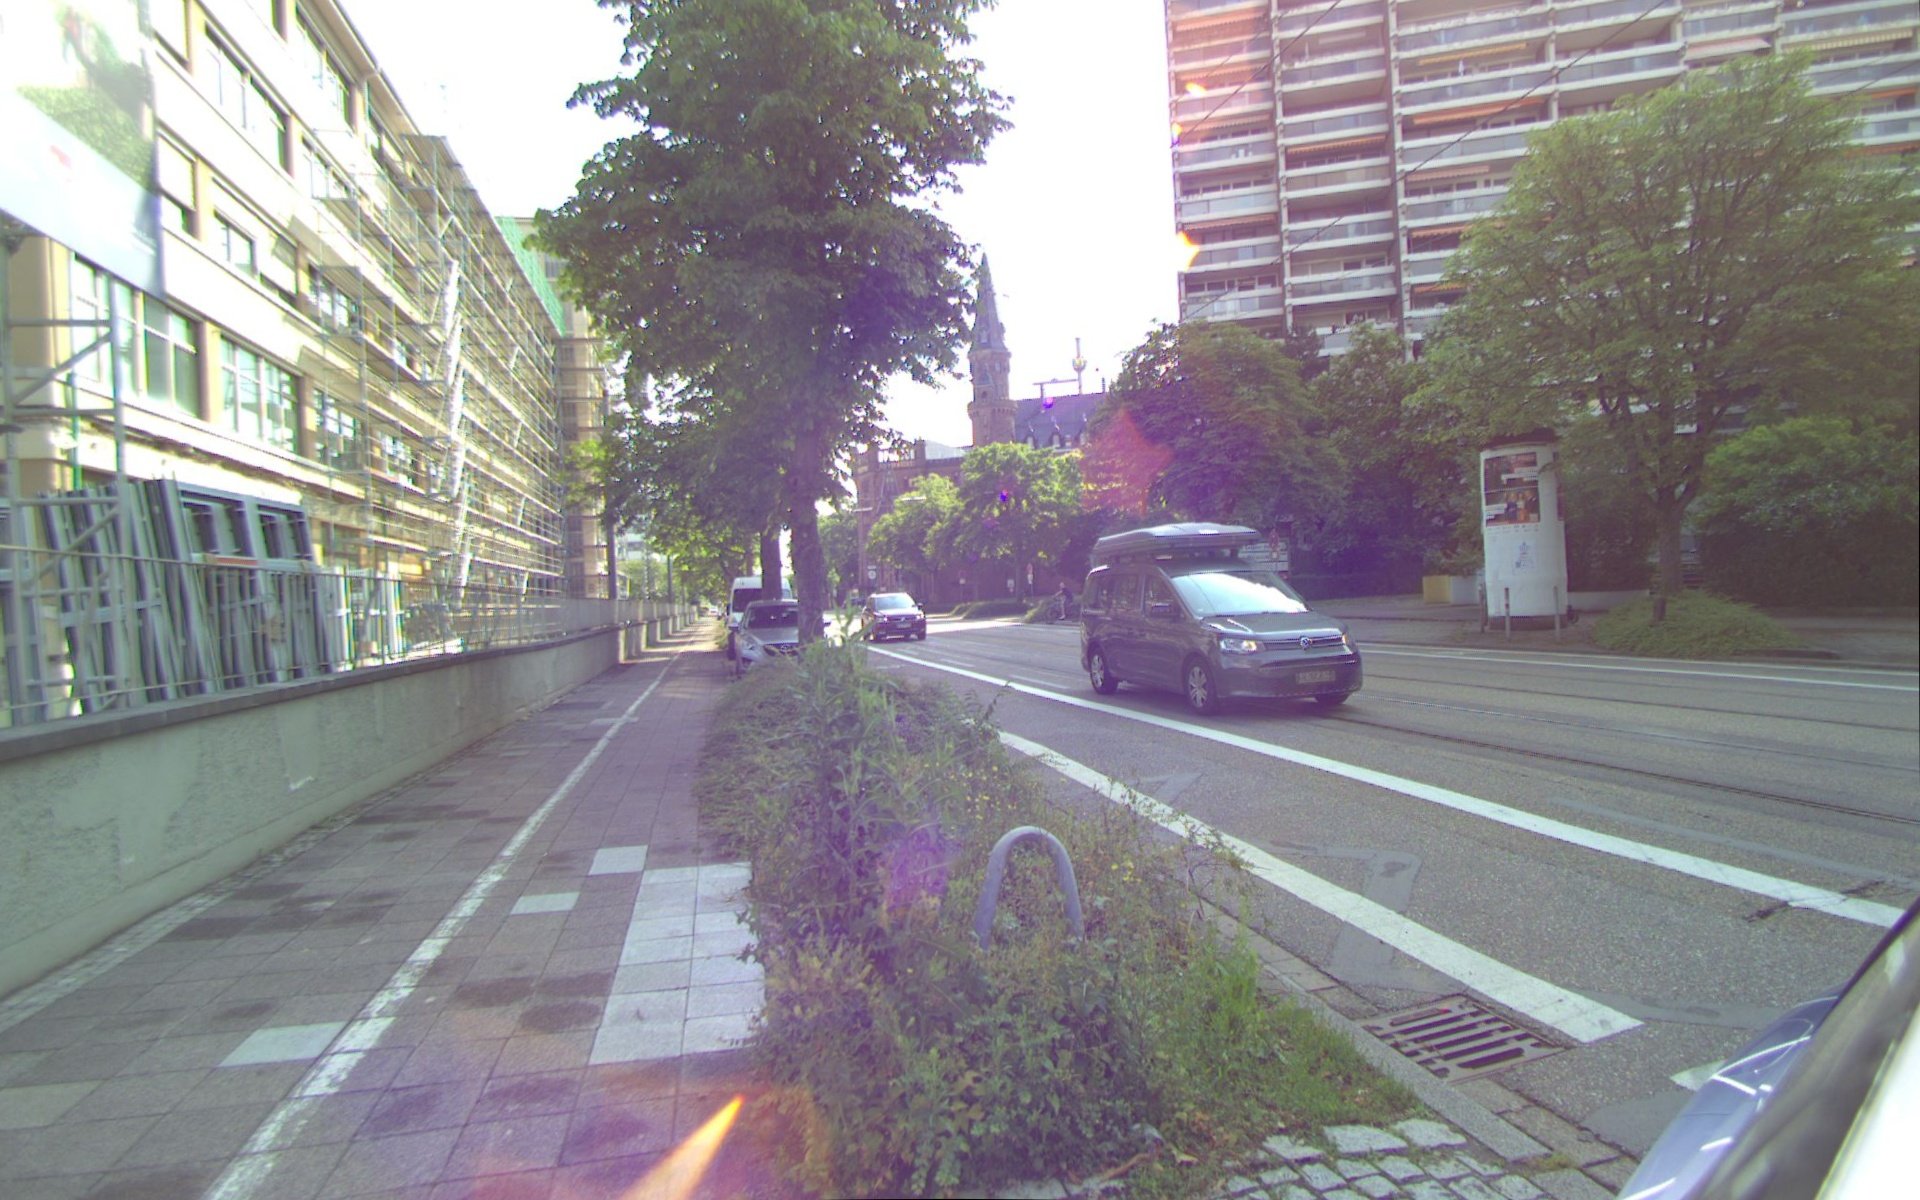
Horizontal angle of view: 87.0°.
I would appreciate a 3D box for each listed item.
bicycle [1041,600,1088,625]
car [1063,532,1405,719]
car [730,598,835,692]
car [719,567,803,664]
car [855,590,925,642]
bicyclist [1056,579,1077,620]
[{"bbox_3d":[4.597,0.530,44.358,1.955,0.992,0.566,3,0,16],"label":"bicycle"},{"bbox_3d":[3.070,0.259,12.675,1.906,1.796,4.846,-3,0,-14],"label":"car"},{"bbox_3d":[-3.800,0.842,21.105,1.734,1.627,4.467,5,-1,-14],"label":"car"},{"bbox_3d":[-6.317,0.376,31.629,2.085,2.599,5.932,5,0,-14],"label":"car"},{"bbox_3d":[-2.525,0.509,35.603,1.644,1.631,3.978,-3,1,-15],"label":"car"},{"bbox_3d":[4.682,-0.013,44.340,0.715,1.762,0.778,3,0,15],"label":"bicyclist"}]
